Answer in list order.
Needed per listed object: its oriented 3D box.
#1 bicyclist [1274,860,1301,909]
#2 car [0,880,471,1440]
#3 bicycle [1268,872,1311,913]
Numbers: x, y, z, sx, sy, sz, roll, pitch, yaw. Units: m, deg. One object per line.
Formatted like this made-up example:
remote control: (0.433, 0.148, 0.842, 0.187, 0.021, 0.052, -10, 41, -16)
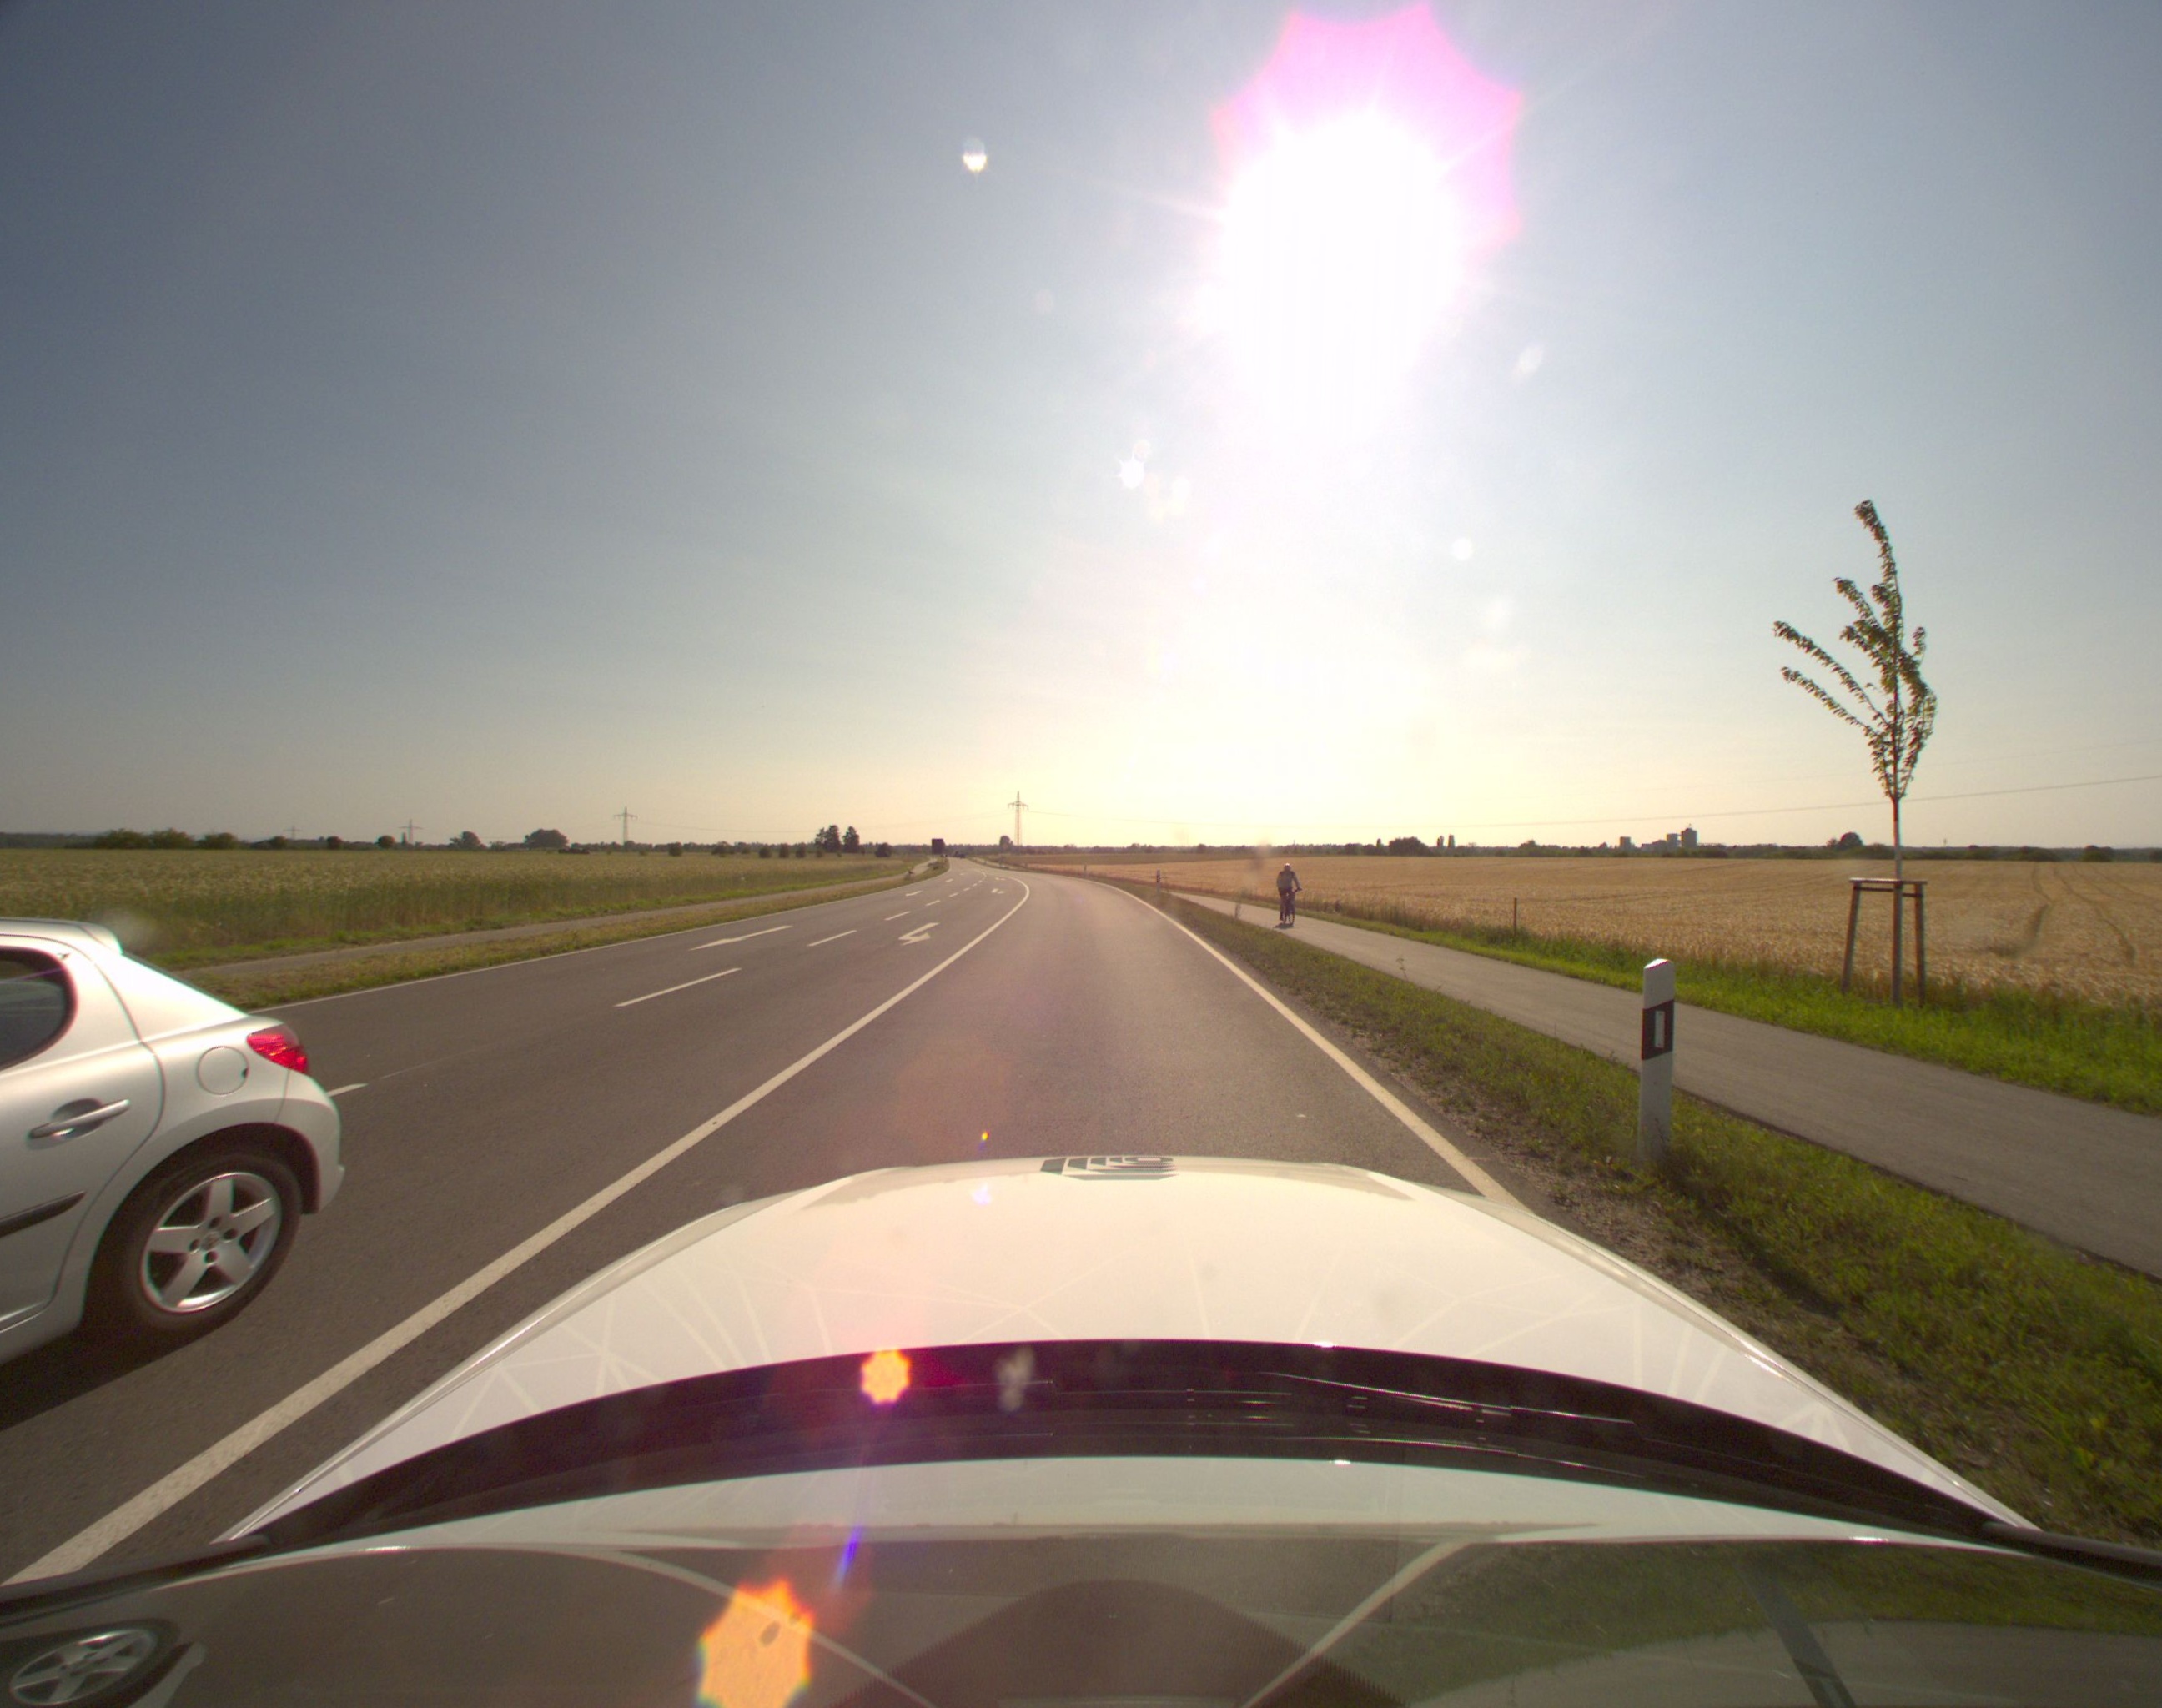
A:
bicyclist: (6.329, 0.933, 24.975, 0.635, 1.457, 0.817, 2, -1, 3)
car: (-3.646, 0.823, 1.684, 1.680, 1.403, 4.001, -1, 0, 1)
bicycle: (6.346, 1.148, 24.918, 0.841, 1.142, 2.208, 2, -1, 3)
